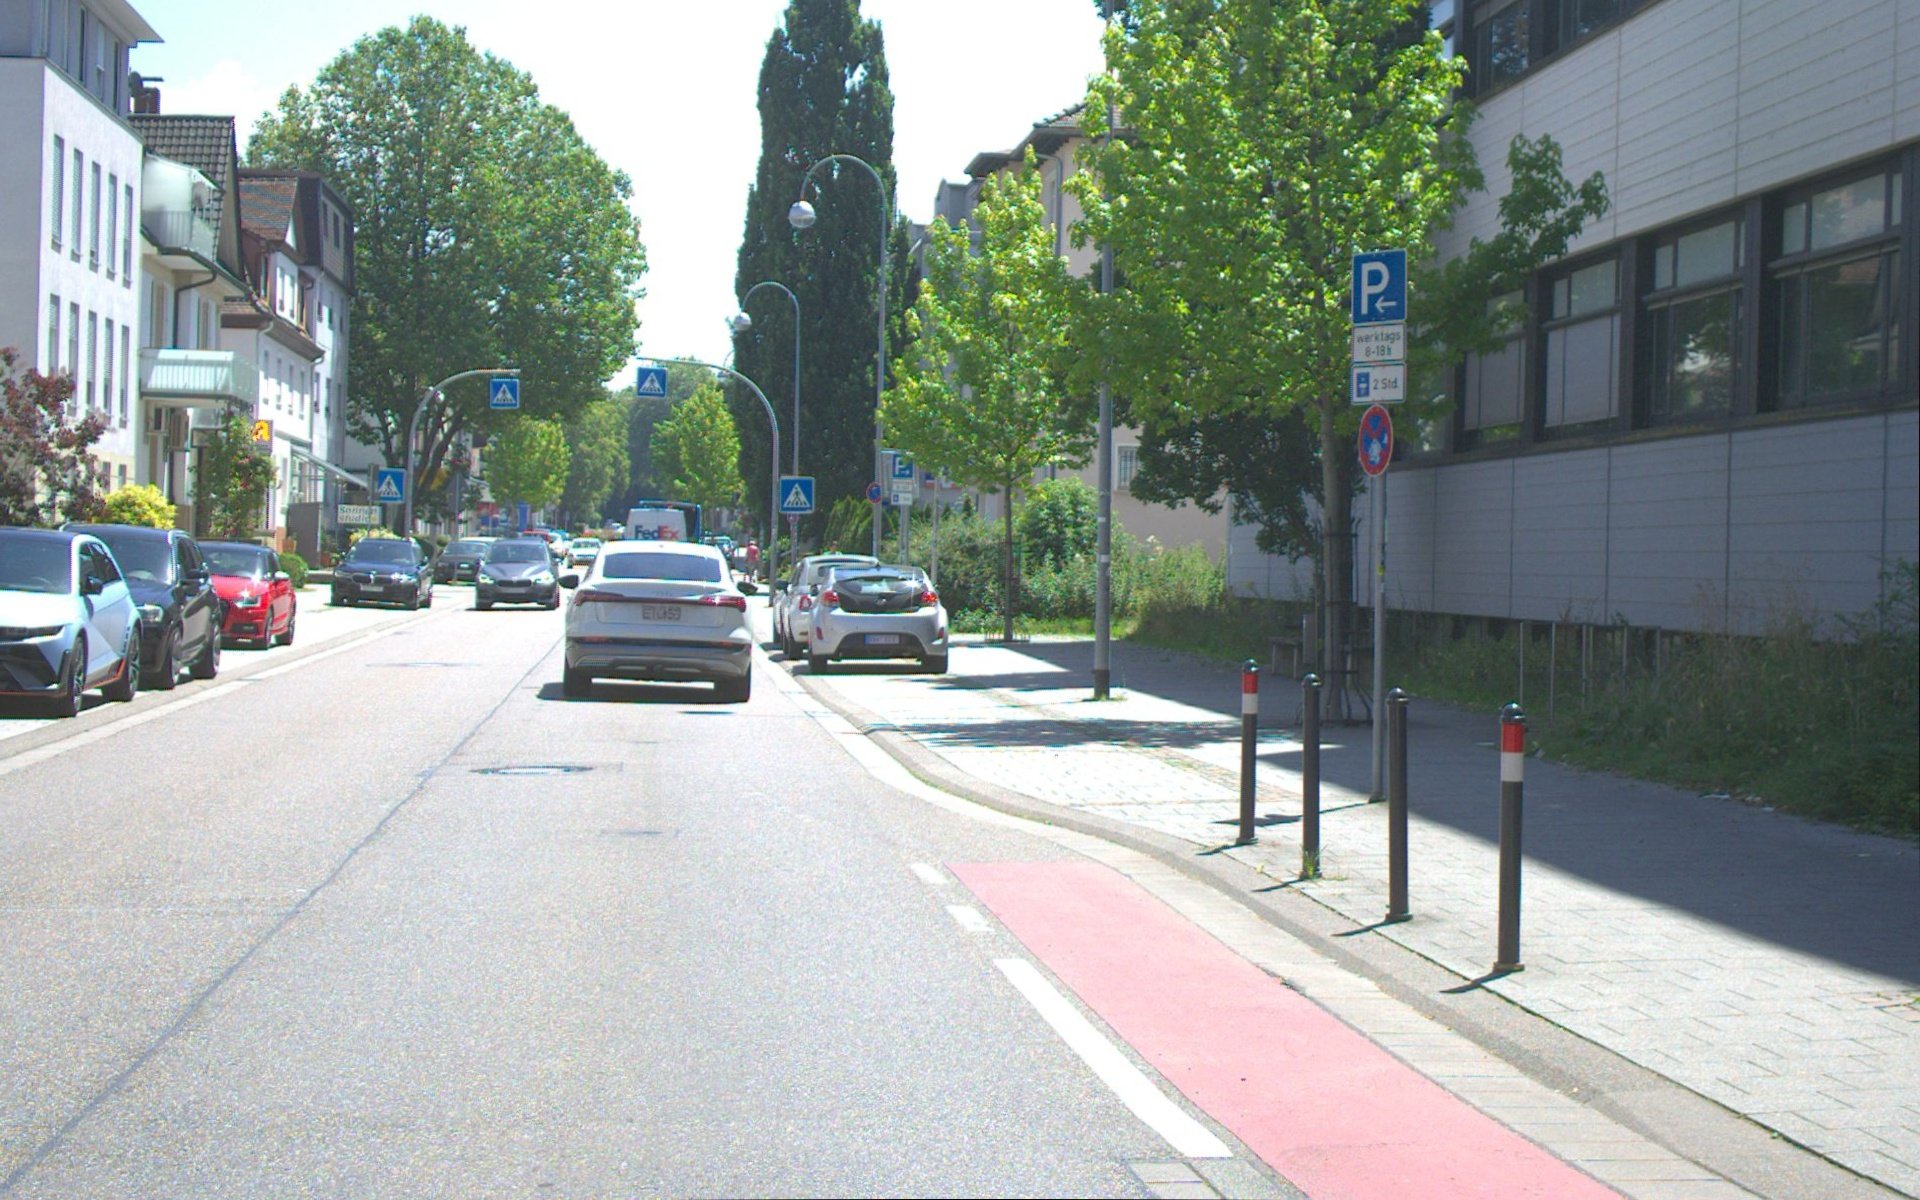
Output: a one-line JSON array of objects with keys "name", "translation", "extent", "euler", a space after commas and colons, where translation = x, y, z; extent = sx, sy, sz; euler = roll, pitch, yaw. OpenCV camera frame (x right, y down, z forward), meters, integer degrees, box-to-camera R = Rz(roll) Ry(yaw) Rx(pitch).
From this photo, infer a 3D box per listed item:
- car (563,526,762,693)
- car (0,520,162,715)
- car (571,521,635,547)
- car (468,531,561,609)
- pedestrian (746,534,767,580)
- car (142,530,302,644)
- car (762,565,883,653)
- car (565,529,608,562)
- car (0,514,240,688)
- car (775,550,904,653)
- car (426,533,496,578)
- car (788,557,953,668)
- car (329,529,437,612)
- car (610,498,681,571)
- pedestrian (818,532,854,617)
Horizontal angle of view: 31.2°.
[{"name": "car", "translation": [-3.161, 0.067, 36.674], "extent": [1.936, 1.609, 4.472], "euler": [2, 1, -5]}, {"name": "car", "translation": [-8.599, 0.081, 31.074], "extent": [1.925, 1.567, 4.660], "euler": [4, 0, -5]}, {"name": "car", "translation": [-24.206, -4.491, 233.103], "extent": [3.987, 1.645, 2.000], "euler": [1, 1, 2]}, {"name": "car", "translation": [-10.088, -0.690, 78.113], "extent": [1.973, 1.665, 4.472], "euler": [1, 1, -6]}, {"name": "pedestrian", "translation": [-7.638, -1.612, 129.063], "extent": [0.693, 1.730, 0.668], "euler": [1, 0, -9]}, {"name": "car", "translation": [-10.273, -0.203, 48.091], "extent": [1.649, 1.414, 3.906], "euler": [4, 0, -5]}, {"name": "car", "translation": [-2.284, 0.119, 56.234], "extent": [1.725, 1.378, 4.403], "euler": [0, 1, -6]}, {"name": "car", "translation": [-18.112, -2.638, 166.841], "extent": [1.978, 1.515, 4.001], "euler": [1, 1, -6]}, {"name": "car", "translation": [-8.940, -0.020, 36.801], "extent": [1.725, 1.614, 4.572], "euler": [4, 0, -5]}, {"name": "car", "translation": [-1.850, -0.005, 51.498], "extent": [1.658, 1.483, 4.346], "euler": [0, 1, -6]}, {"name": "car", "translation": [-15.750, -1.396, 108.733], "extent": [1.993, 1.345, 4.001], "euler": [1, 1, -6]}, {"name": "car", "translation": [-1.244, 0.136, 45.871], "extent": [1.862, 1.368, 4.001], "euler": [1, 1, -6]}, {"name": "car", "translation": [-12.582, -0.654, 75.165], "extent": [1.925, 1.714, 4.472], "euler": [1, 1, -5]}, {"name": "car", "translation": [-9.713, -2.000, 105.969], "extent": [2.069, 2.189, 5.139], "euler": [0, 1, -6]}, {"name": "pedestrian", "translation": [-2.591, -0.541, 71.799], "extent": [0.637, 1.752, 0.617], "euler": [1, 0, -9]}]
